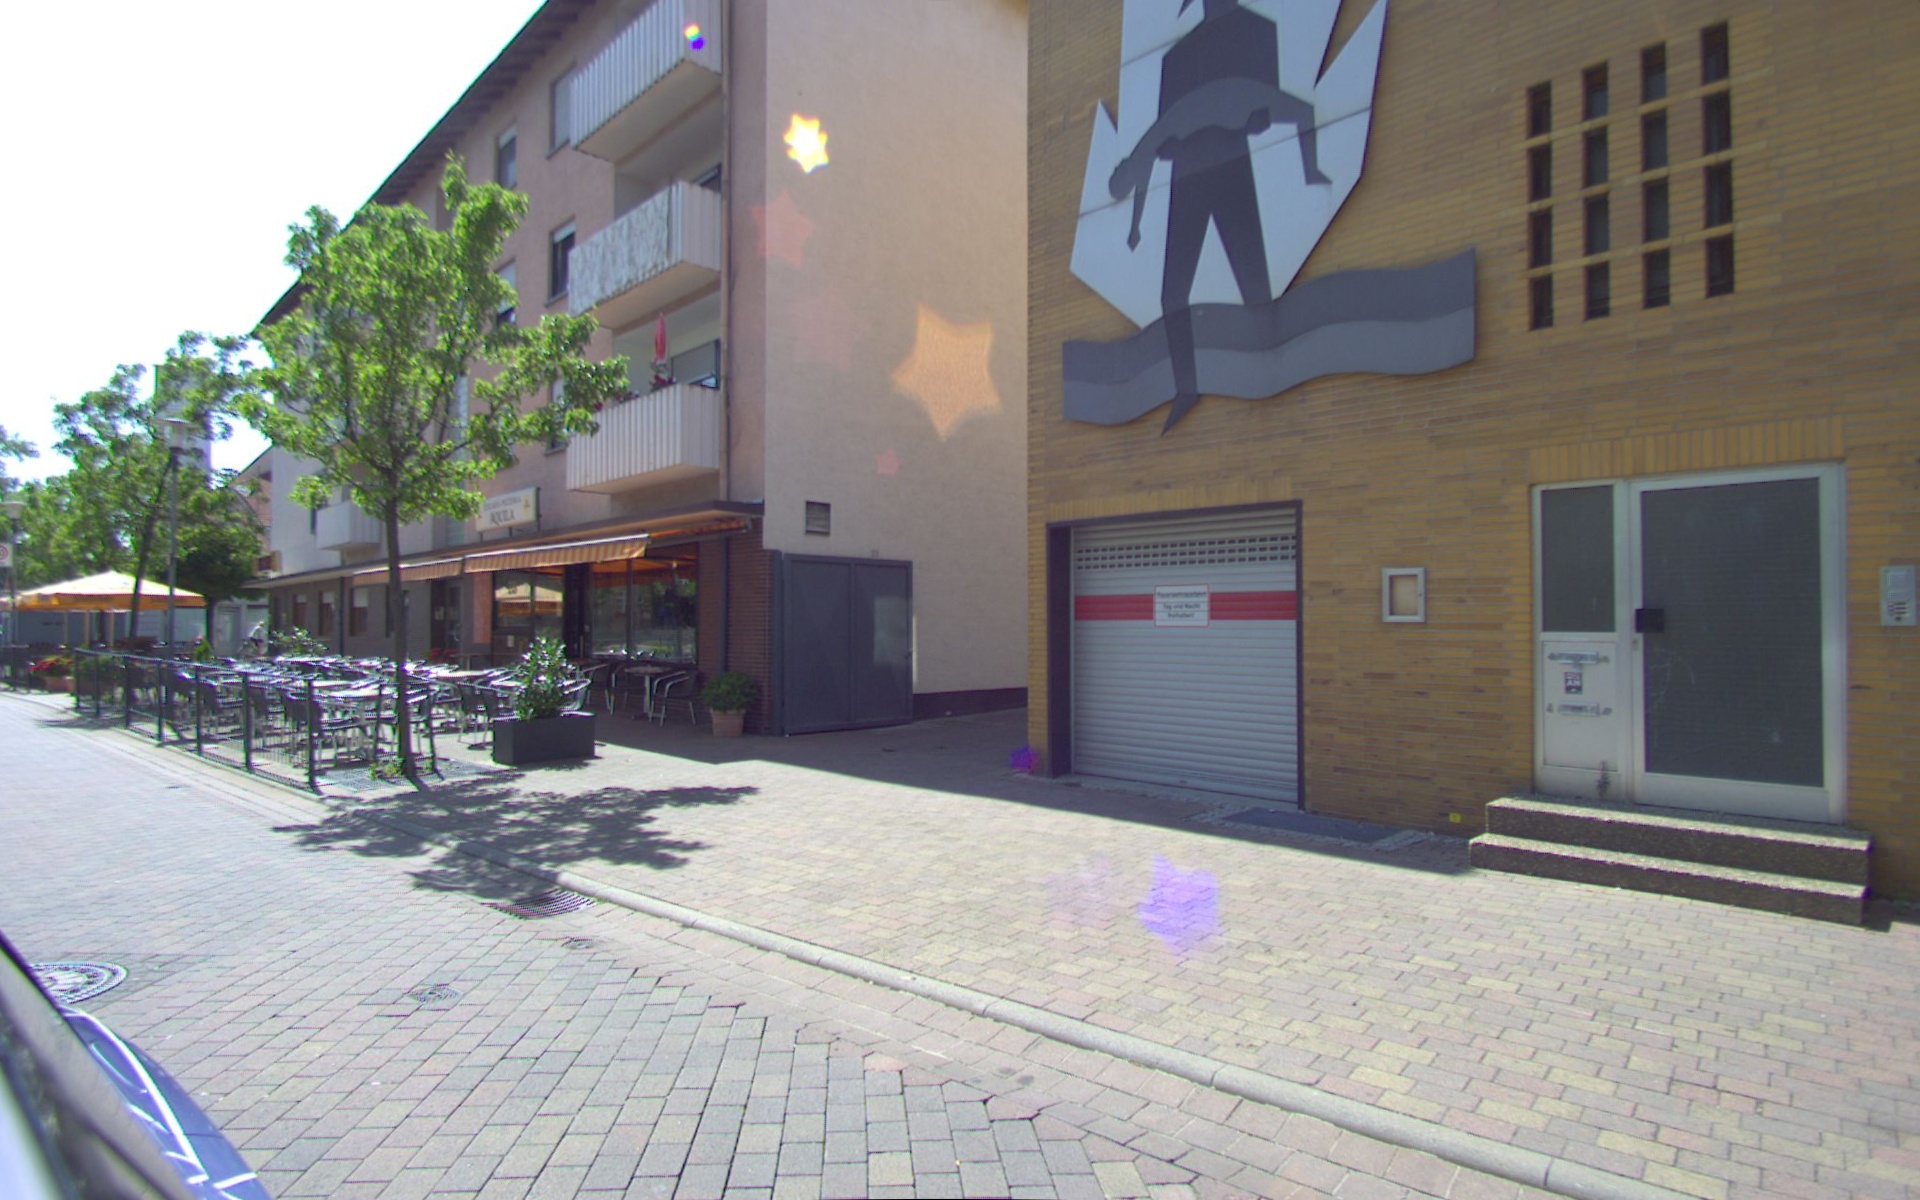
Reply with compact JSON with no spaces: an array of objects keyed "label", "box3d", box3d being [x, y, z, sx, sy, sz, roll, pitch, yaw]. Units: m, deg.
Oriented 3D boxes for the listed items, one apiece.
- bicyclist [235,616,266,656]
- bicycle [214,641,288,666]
[{"label":"bicyclist","box3d":[-28.711,1.438,40.944,0.788,1.589,0.848,-2,-2,44]},{"label":"bicycle","box3d":[-28.668,2.163,40.975,0.775,0.932,2.310,-2,-4,44]}]
